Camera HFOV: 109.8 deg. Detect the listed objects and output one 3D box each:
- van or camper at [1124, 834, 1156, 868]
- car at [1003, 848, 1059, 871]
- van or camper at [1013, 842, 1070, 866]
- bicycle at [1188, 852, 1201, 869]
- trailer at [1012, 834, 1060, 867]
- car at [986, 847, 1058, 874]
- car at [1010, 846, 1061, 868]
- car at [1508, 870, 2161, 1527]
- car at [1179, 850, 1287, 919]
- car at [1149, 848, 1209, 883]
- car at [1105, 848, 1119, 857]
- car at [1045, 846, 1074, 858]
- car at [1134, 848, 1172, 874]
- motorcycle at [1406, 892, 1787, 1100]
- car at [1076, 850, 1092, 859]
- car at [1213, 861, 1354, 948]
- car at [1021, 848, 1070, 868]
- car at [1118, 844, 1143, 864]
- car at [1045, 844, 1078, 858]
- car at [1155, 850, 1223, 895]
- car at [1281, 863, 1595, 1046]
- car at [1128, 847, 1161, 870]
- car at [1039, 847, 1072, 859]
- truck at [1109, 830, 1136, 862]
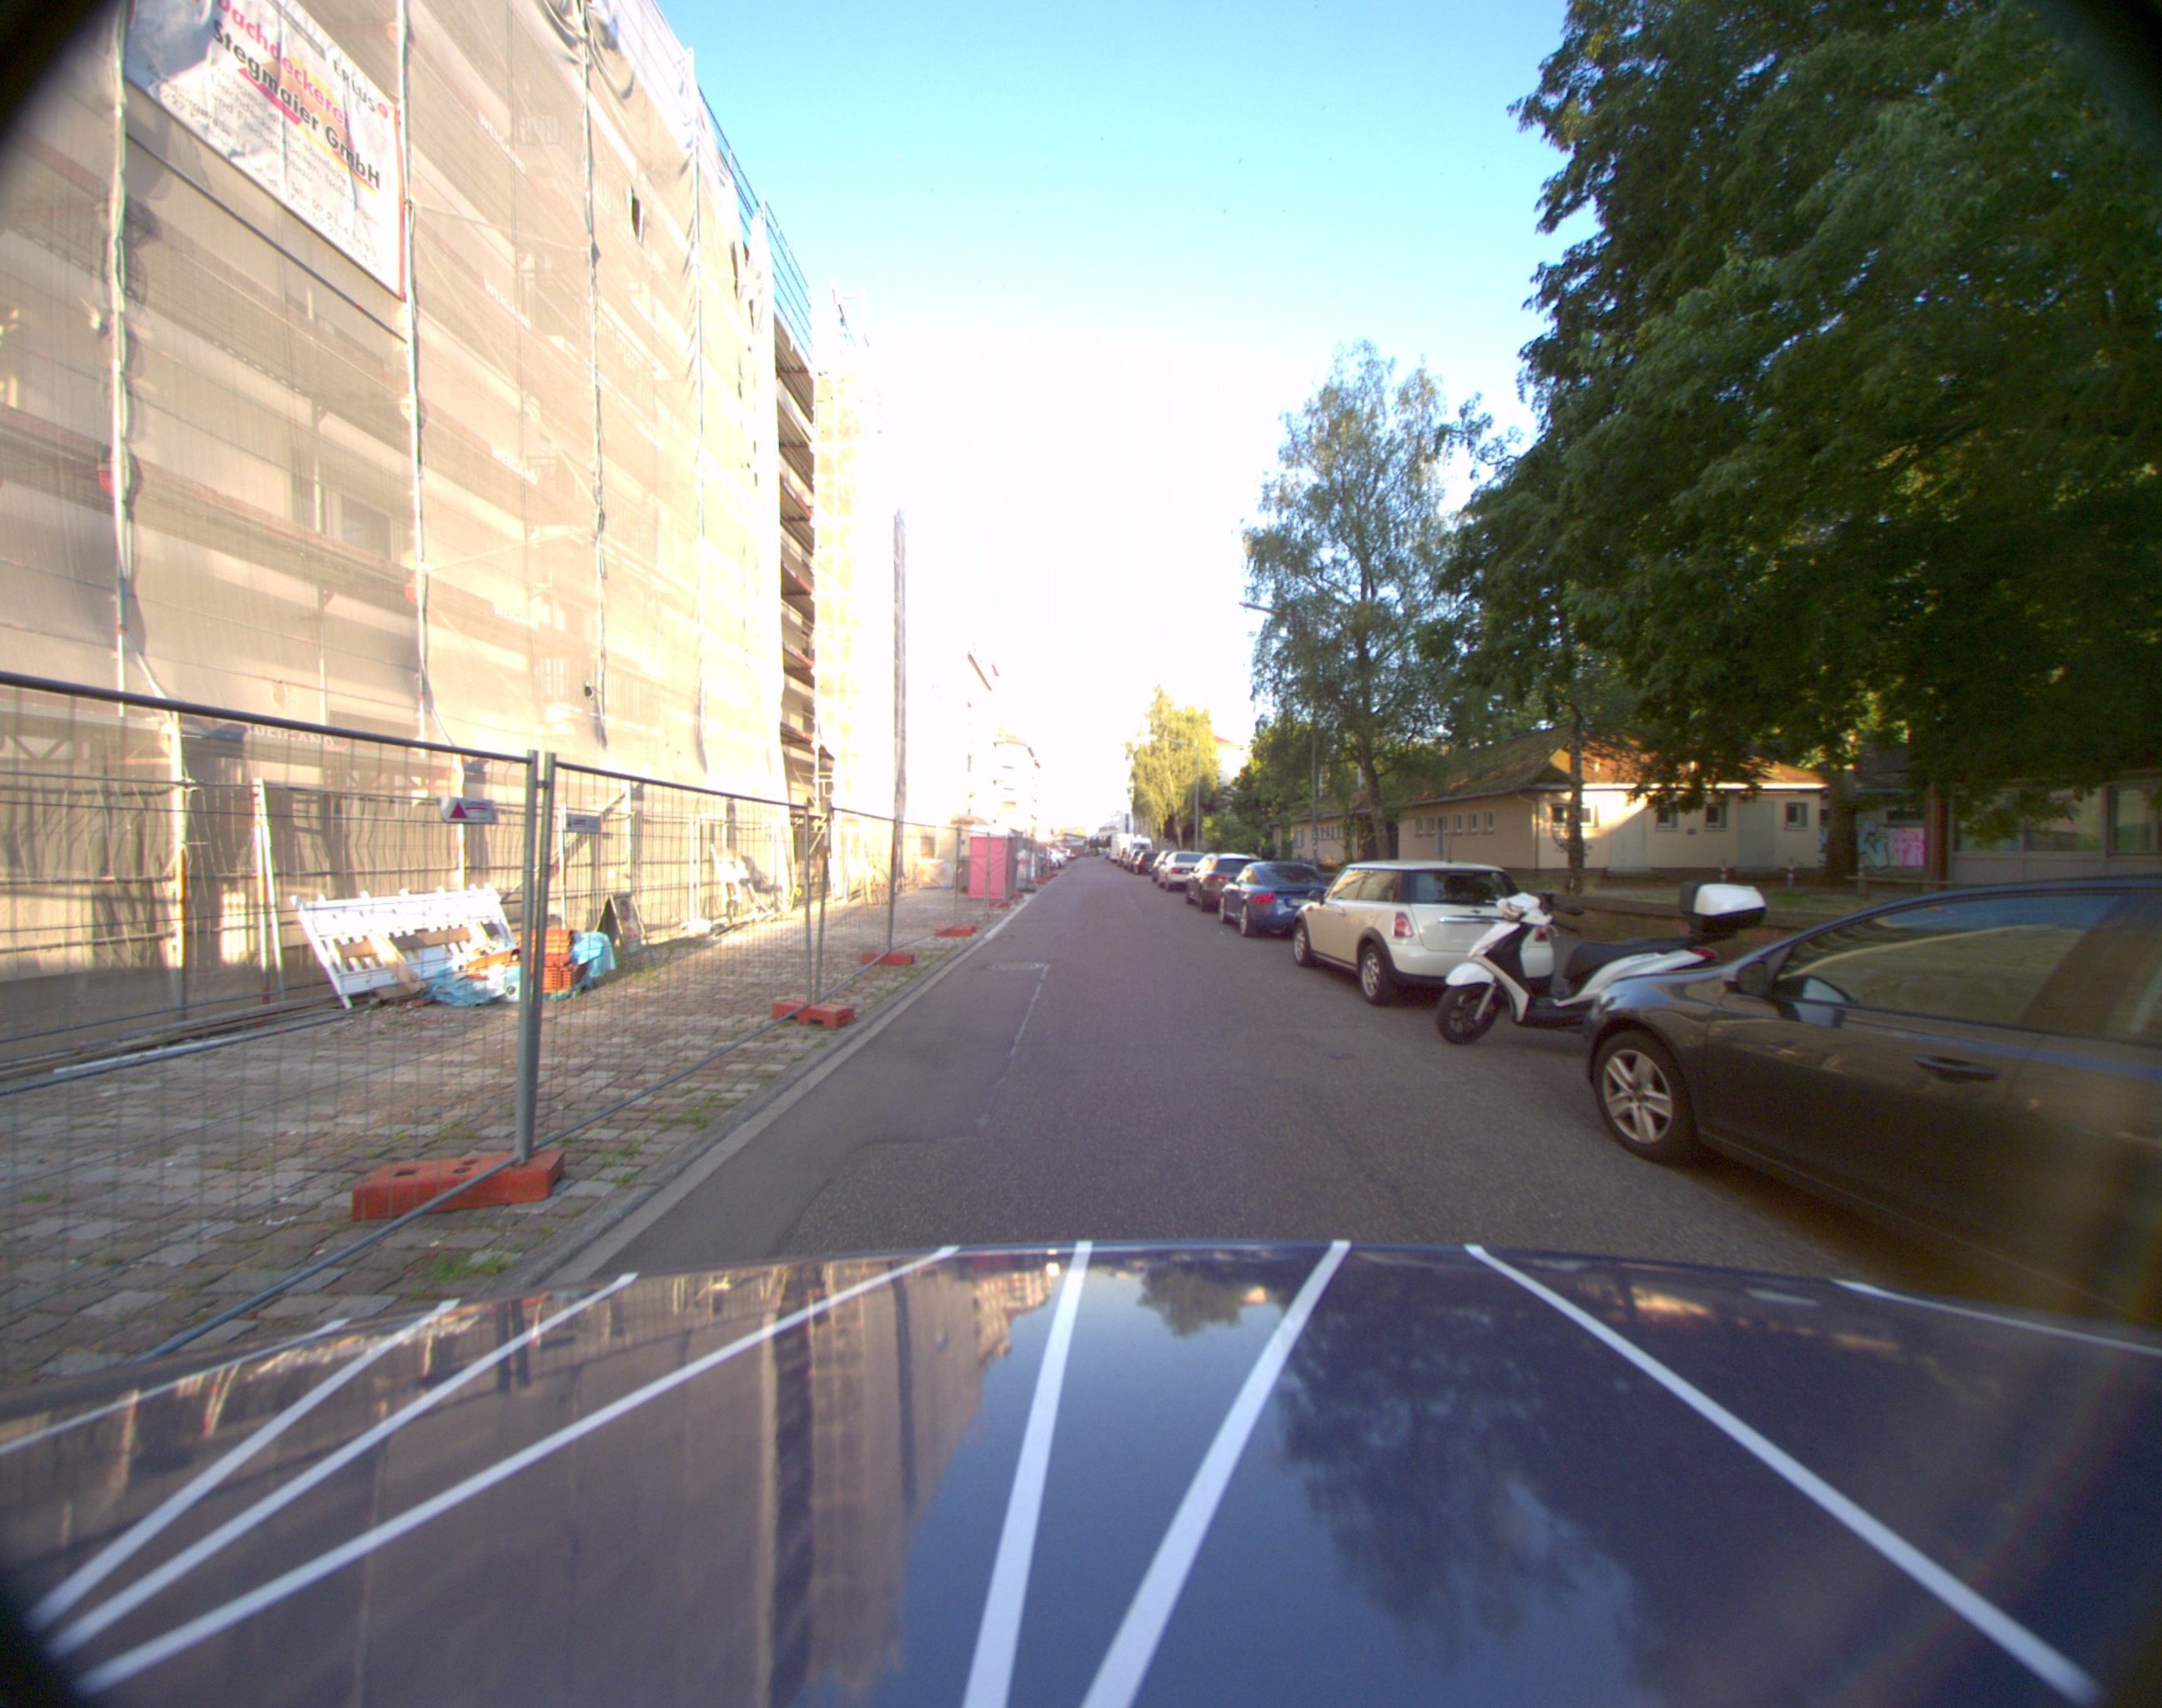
[{"bbox_3d":[4.411,-0.268,57.945,1.998,2.442,6.082,0,0,1],"label":"van or camper"},{"bbox_3d":[-3.645,0.390,56.077,3.998,1.628,1.902,0,1,-2],"label":"car"},{"bbox_3d":[-3.400,-0.018,66.064,4.846,2.084,2.040,0,1,0],"label":"van or camper"},{"bbox_3d":[7.574,0.443,50.950,0.544,1.111,1.955,-1,1,-1],"label":"bicycle"},{"bbox_3d":[-3.446,-0.271,58.593,3.577,2.323,1.940,2,1,-2],"label":"trailer"},{"bbox_3d":[-3.555,0.393,46.080,4.163,1.606,1.872,0,1,2],"label":"car"},{"bbox_3d":[-3.611,0.230,60.700,3.997,1.718,1.999,0,2,-1],"label":"car"},{"bbox_3d":[3.466,0.881,2.410,1.720,1.487,4.360,1,1,0],"label":"car"},{"bbox_3d":[3.797,0.678,19.823,1.864,1.529,4.758,1,1,0],"label":"car"},{"bbox_3d":[4.267,0.465,33.772,1.999,1.444,3.999,-1,1,-2],"label":"car"},{"bbox_3d":[5.276,-0.239,129.862,1.999,1.481,4.431,-1,0,-1],"label":"car"},{"bbox_3d":[-3.005,-0.265,106.654,3.997,1.619,1.784,0,1,-2],"label":"car"},{"bbox_3d":[4.283,0.389,45.834,1.998,1.444,4.288,-1,1,1],"label":"car"},{"bbox_3d":[3.656,0.969,5.645,2.167,1.296,0.881,-1,1,15],"label":"motorcycle"},{"bbox_3d":[0.475,0.005,128.375,2.000,1.481,4.427,-1,0,-11],"label":"car"},{"bbox_3d":[3.674,0.852,14.539,1.663,1.306,4.154,1,1,1],"label":"car"},{"bbox_3d":[-2.913,0.310,63.332,3.997,1.630,1.999,0,1,-1],"label":"car"},{"bbox_3d":[4.424,-0.007,68.767,1.915,1.777,4.949,1,0,0],"label":"car"},{"bbox_3d":[-2.764,-0.480,109.554,4.685,1.988,2.000,0,1,1],"label":"car"},{"bbox_3d":[3.897,0.604,28.175,1.787,1.437,4.747,2,1,0],"label":"car"},{"bbox_3d":[3.571,0.890,8.431,1.605,1.423,3.803,2,1,0],"label":"car"},{"bbox_3d":[4.311,0.288,52.090,1.998,1.510,4.789,-1,1,1],"label":"car"},{"bbox_3d":[-3.417,-0.174,101.650,4.311,1.532,1.923,0,1,2],"label":"car"},{"bbox_3d":[4.603,-0.941,86.033,2.532,3.334,8.016,2,1,0],"label":"truck"}]
